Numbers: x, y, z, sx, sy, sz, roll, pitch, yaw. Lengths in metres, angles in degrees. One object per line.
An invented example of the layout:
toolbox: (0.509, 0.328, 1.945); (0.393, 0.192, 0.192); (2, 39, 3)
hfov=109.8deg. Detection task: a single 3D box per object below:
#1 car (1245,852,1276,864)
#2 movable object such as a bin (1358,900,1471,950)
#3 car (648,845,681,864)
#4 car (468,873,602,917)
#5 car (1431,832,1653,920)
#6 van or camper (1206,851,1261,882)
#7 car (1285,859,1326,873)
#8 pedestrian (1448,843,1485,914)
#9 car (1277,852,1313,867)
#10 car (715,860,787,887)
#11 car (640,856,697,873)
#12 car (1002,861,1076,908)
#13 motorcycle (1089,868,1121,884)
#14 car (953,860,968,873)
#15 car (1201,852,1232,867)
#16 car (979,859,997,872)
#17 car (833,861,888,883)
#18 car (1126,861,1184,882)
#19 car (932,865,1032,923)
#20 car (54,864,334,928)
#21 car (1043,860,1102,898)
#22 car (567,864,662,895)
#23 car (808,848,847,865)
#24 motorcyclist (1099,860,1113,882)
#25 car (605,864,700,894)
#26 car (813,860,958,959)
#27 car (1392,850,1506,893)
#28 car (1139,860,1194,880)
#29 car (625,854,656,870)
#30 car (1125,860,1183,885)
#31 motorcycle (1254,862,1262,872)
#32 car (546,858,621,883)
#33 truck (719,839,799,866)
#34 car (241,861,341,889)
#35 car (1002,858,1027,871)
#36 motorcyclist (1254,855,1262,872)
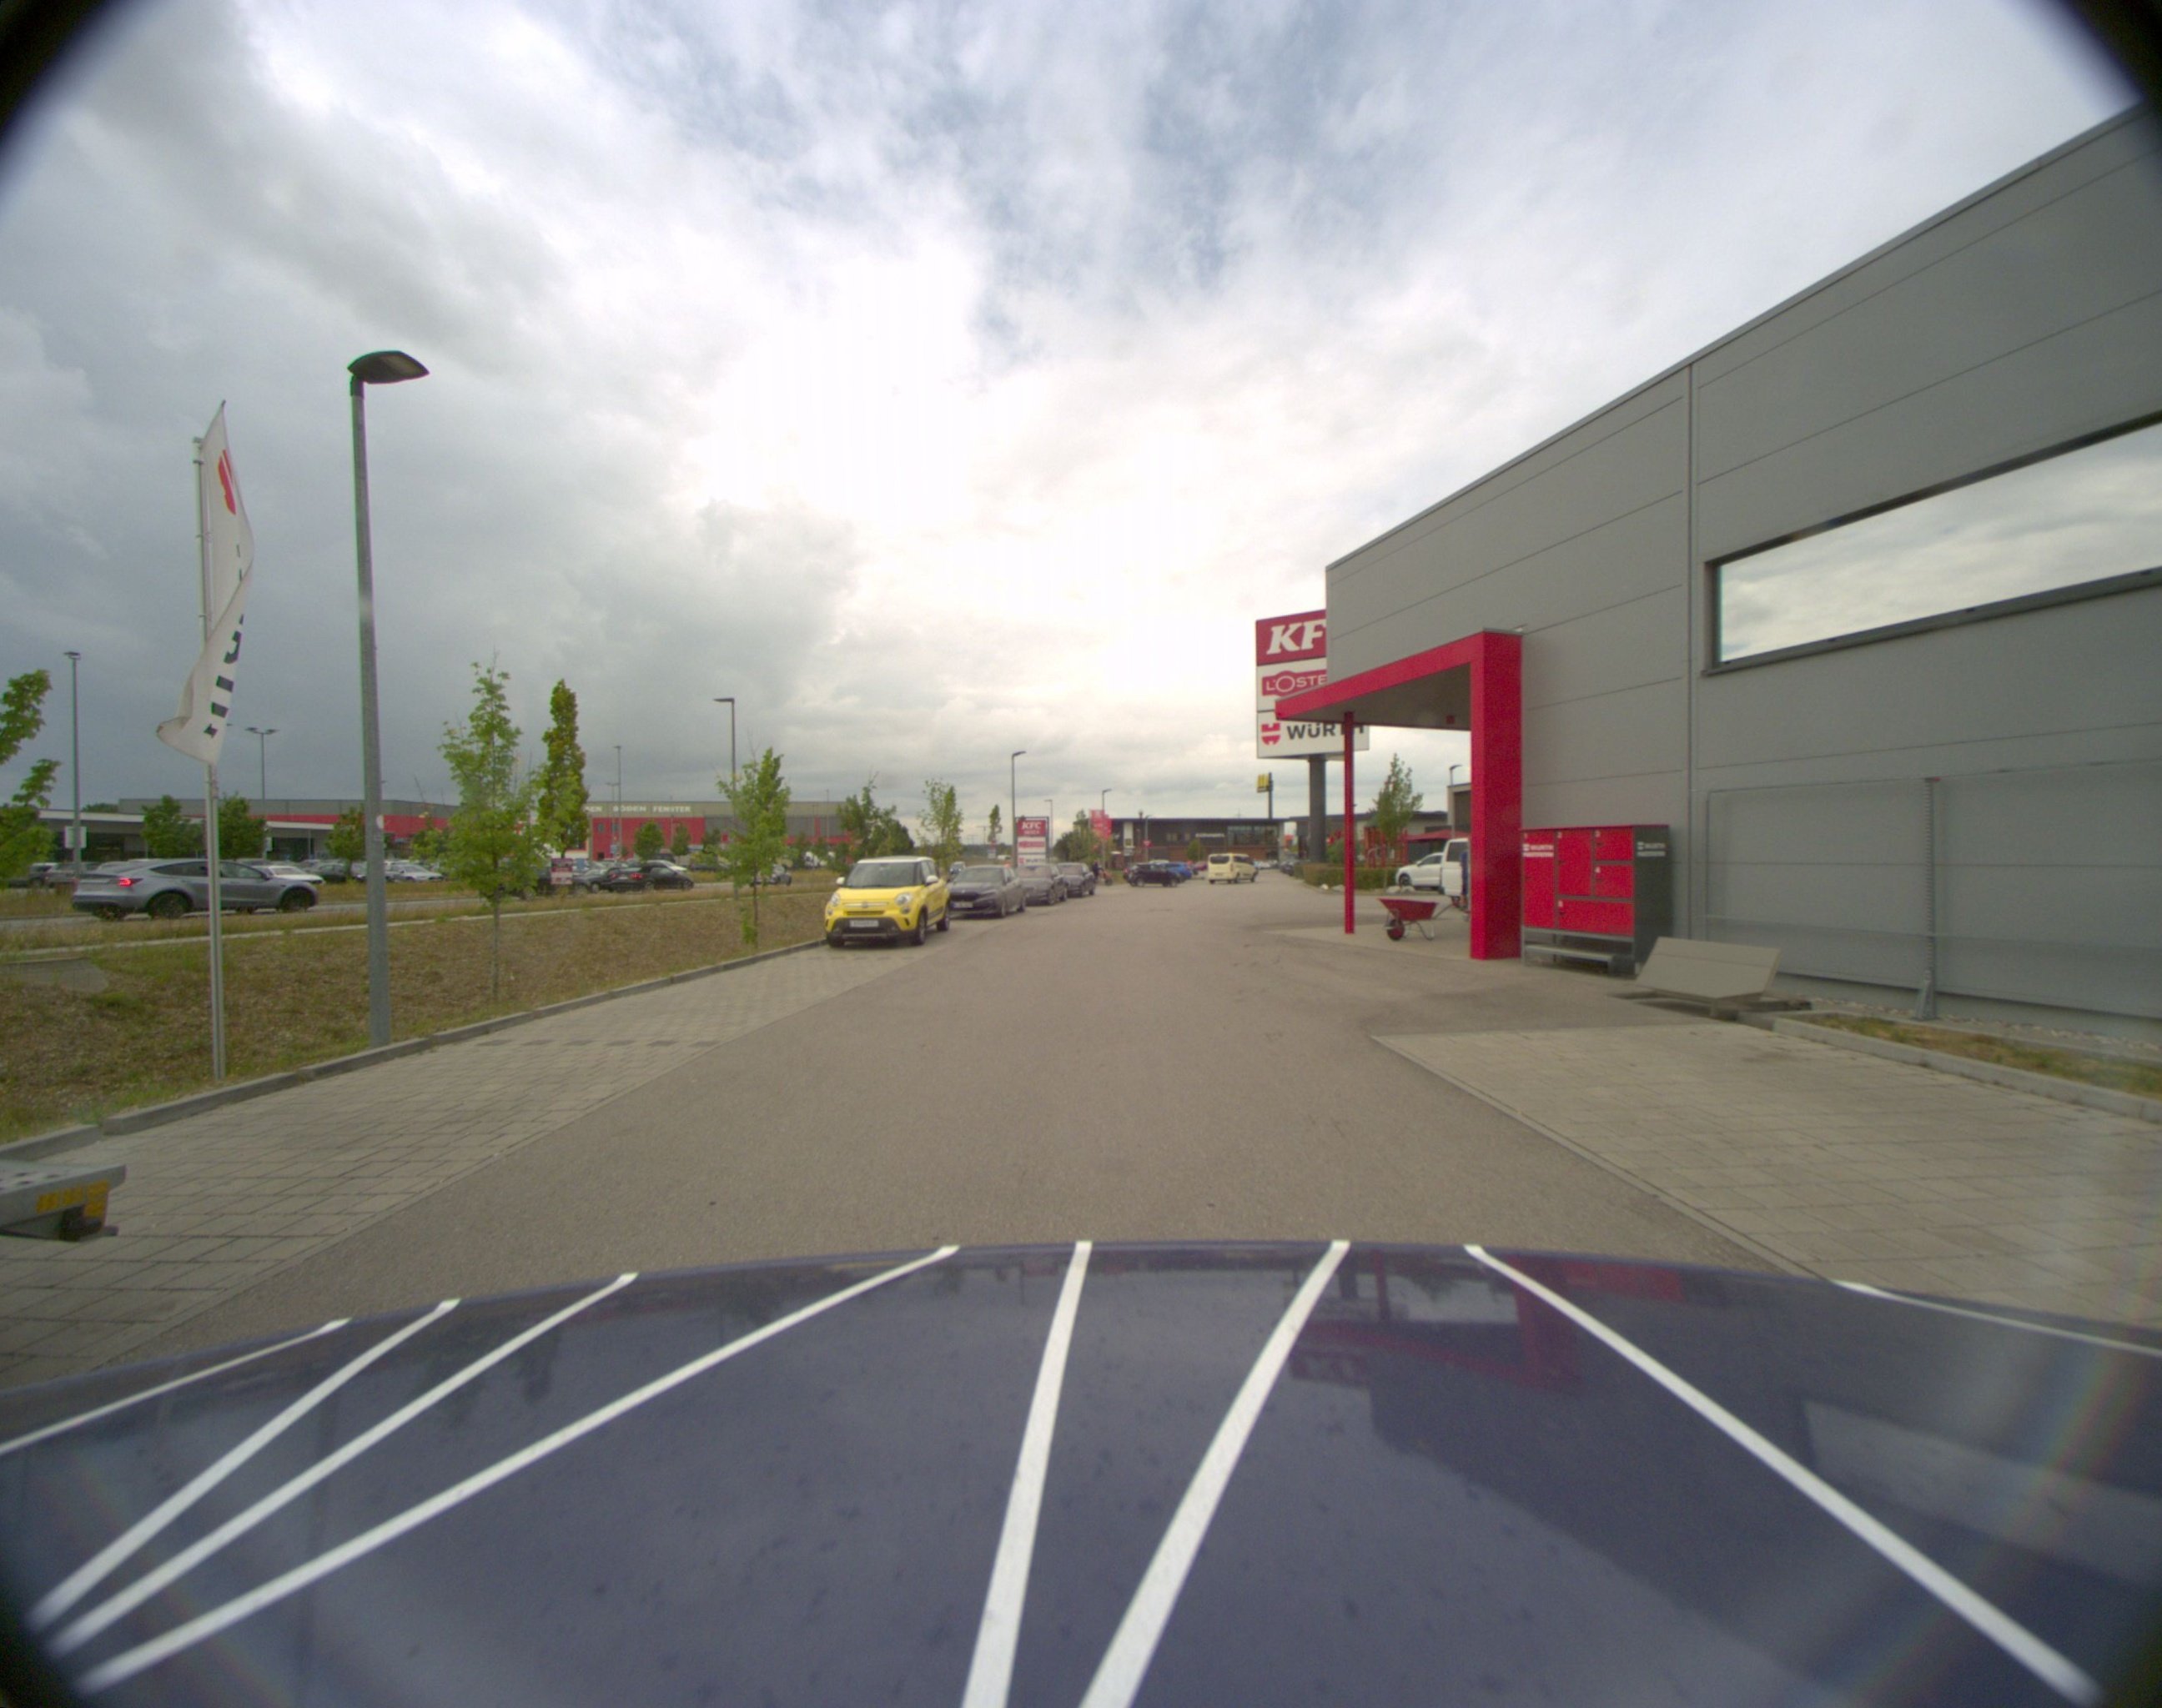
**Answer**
car: (26.770, 0.617, 113.509); (3.989, 1.652, 2.004); (-1, 0, 41)
movable object such as a bin: (5.559, 1.159, 12.692); (1.586, 0.712, 0.802); (-1, 0, -17)
car: (-47.597, 0.027, 86.976); (2.026, 2.192, 4.344); (-1, 1, -11)
car: (-22.135, 1.605, 31.038); (1.906, 1.559, 4.339); (-1, 0, 10)
car: (11.813, 0.510, 19.911); (1.939, 2.002, 4.751); (-1, 0, -21)
van or camper: (10.610, 0.838, 52.571); (1.854, 2.049, 5.245); (-1, 0, 34)
car: (21.432, 1.130, 72.595); (3.440, 1.288, 1.500); (-1, 0, 3)
pedestrian: (10.178, 0.632, 20.065); (0.589, 1.845, 0.624); (-2, 1, -26)
car: (28.053, 0.669, 99.679); (3.998, 1.827, 2.000); (-1, 0, -2)
car: (-19.388, 1.122, 44.815); (1.820, 1.486, 4.004); (-1, 0, 13)
car: (-37.359, 0.934, 68.875); (3.995, 1.433, 2.001); (-1, 0, 6)
car: (-1.435, 1.052, 27.862); (1.750, 1.482, 4.636); (-1, 0, 9)
motorcycle: (1.485, 1.349, 46.614); (1.870, 0.911, 0.555); (-1, 0, -20)
car: (-16.522, 1.682, 104.354); (2.000, 1.667, 3.997); (-1, 0, -9)
car: (19.584, 0.775, 109.785); (3.989, 2.002, 2.004); (-1, 0, 41)
car: (-13.297, 1.703, 109.095); (1.906, 1.803, 4.001); (-1, 0, 2)
car: (-14.464, 1.152, 50.093); (1.757, 1.346, 4.004); (0, 0, 13)
car: (5.337, 1.238, 54.907); (3.993, 1.412, 1.812); (-1, 0, 11)
car: (-2.677, 1.053, 21.595); (1.750, 1.407, 4.308); (-1, 0, 8)
car: (-24.294, 1.076, 21.186); (1.808, 1.499, 4.886); (-1, 0, 6)
car: (-0.295, 1.057, 33.284); (1.750, 1.482, 4.491); (-1, 0, 10)
car: (-24.524, 1.330, 40.155); (1.788, 1.387, 4.374); (-2, 1, 9)
car: (-32.610, 0.337, 97.938); (4.438, 2.110, 1.998); (-1, 0, -8)
motorcyclist: (1.529, 1.021, 46.610); (0.673, 1.308, 0.574); (-1, 0, -20)
car: (-21.145, 1.207, 37.692); (1.906, 1.389, 4.004); (-1, 0, 12)
car: (-3.772, 0.993, 15.460); (1.751, 1.673, 4.299); (-1, 0, 1)
car: (15.988, 0.717, 33.318); (1.759, 1.738, 4.735); (-1, 0, -16)
car: (6.484, 1.213, 57.331); (3.993, 1.412, 1.812); (-1, 0, 11)
car: (-50.251, 0.906, 86.733); (1.763, 1.644, 3.832); (-1, 1, -11)
car: (4.363, 1.110, 45.474); (3.127, 1.438, 1.505); (0, 1, -14)
motorcycle: (17.995, 1.311, 77.318); (0.815, 1.069, 2.152); (-1, 0, 12)
car: (-33.045, 1.073, 50.517); (3.992, 1.521, 2.002); (-1, 0, 14)
truck: (-35.881, -0.208, 85.081); (2.672, 2.928, 8.199); (0, 1, 31)
car: (-43.205, 1.129, 41.593); (3.994, 1.467, 1.779); (-1, 0, 8)
car: (-8.246, 1.325, 94.717); (1.997, 1.506, 4.373); (-1, 0, 9)
motorcyclist: (17.982, 0.977, 77.357); (0.753, 1.628, 1.039); (-1, 0, 12)
